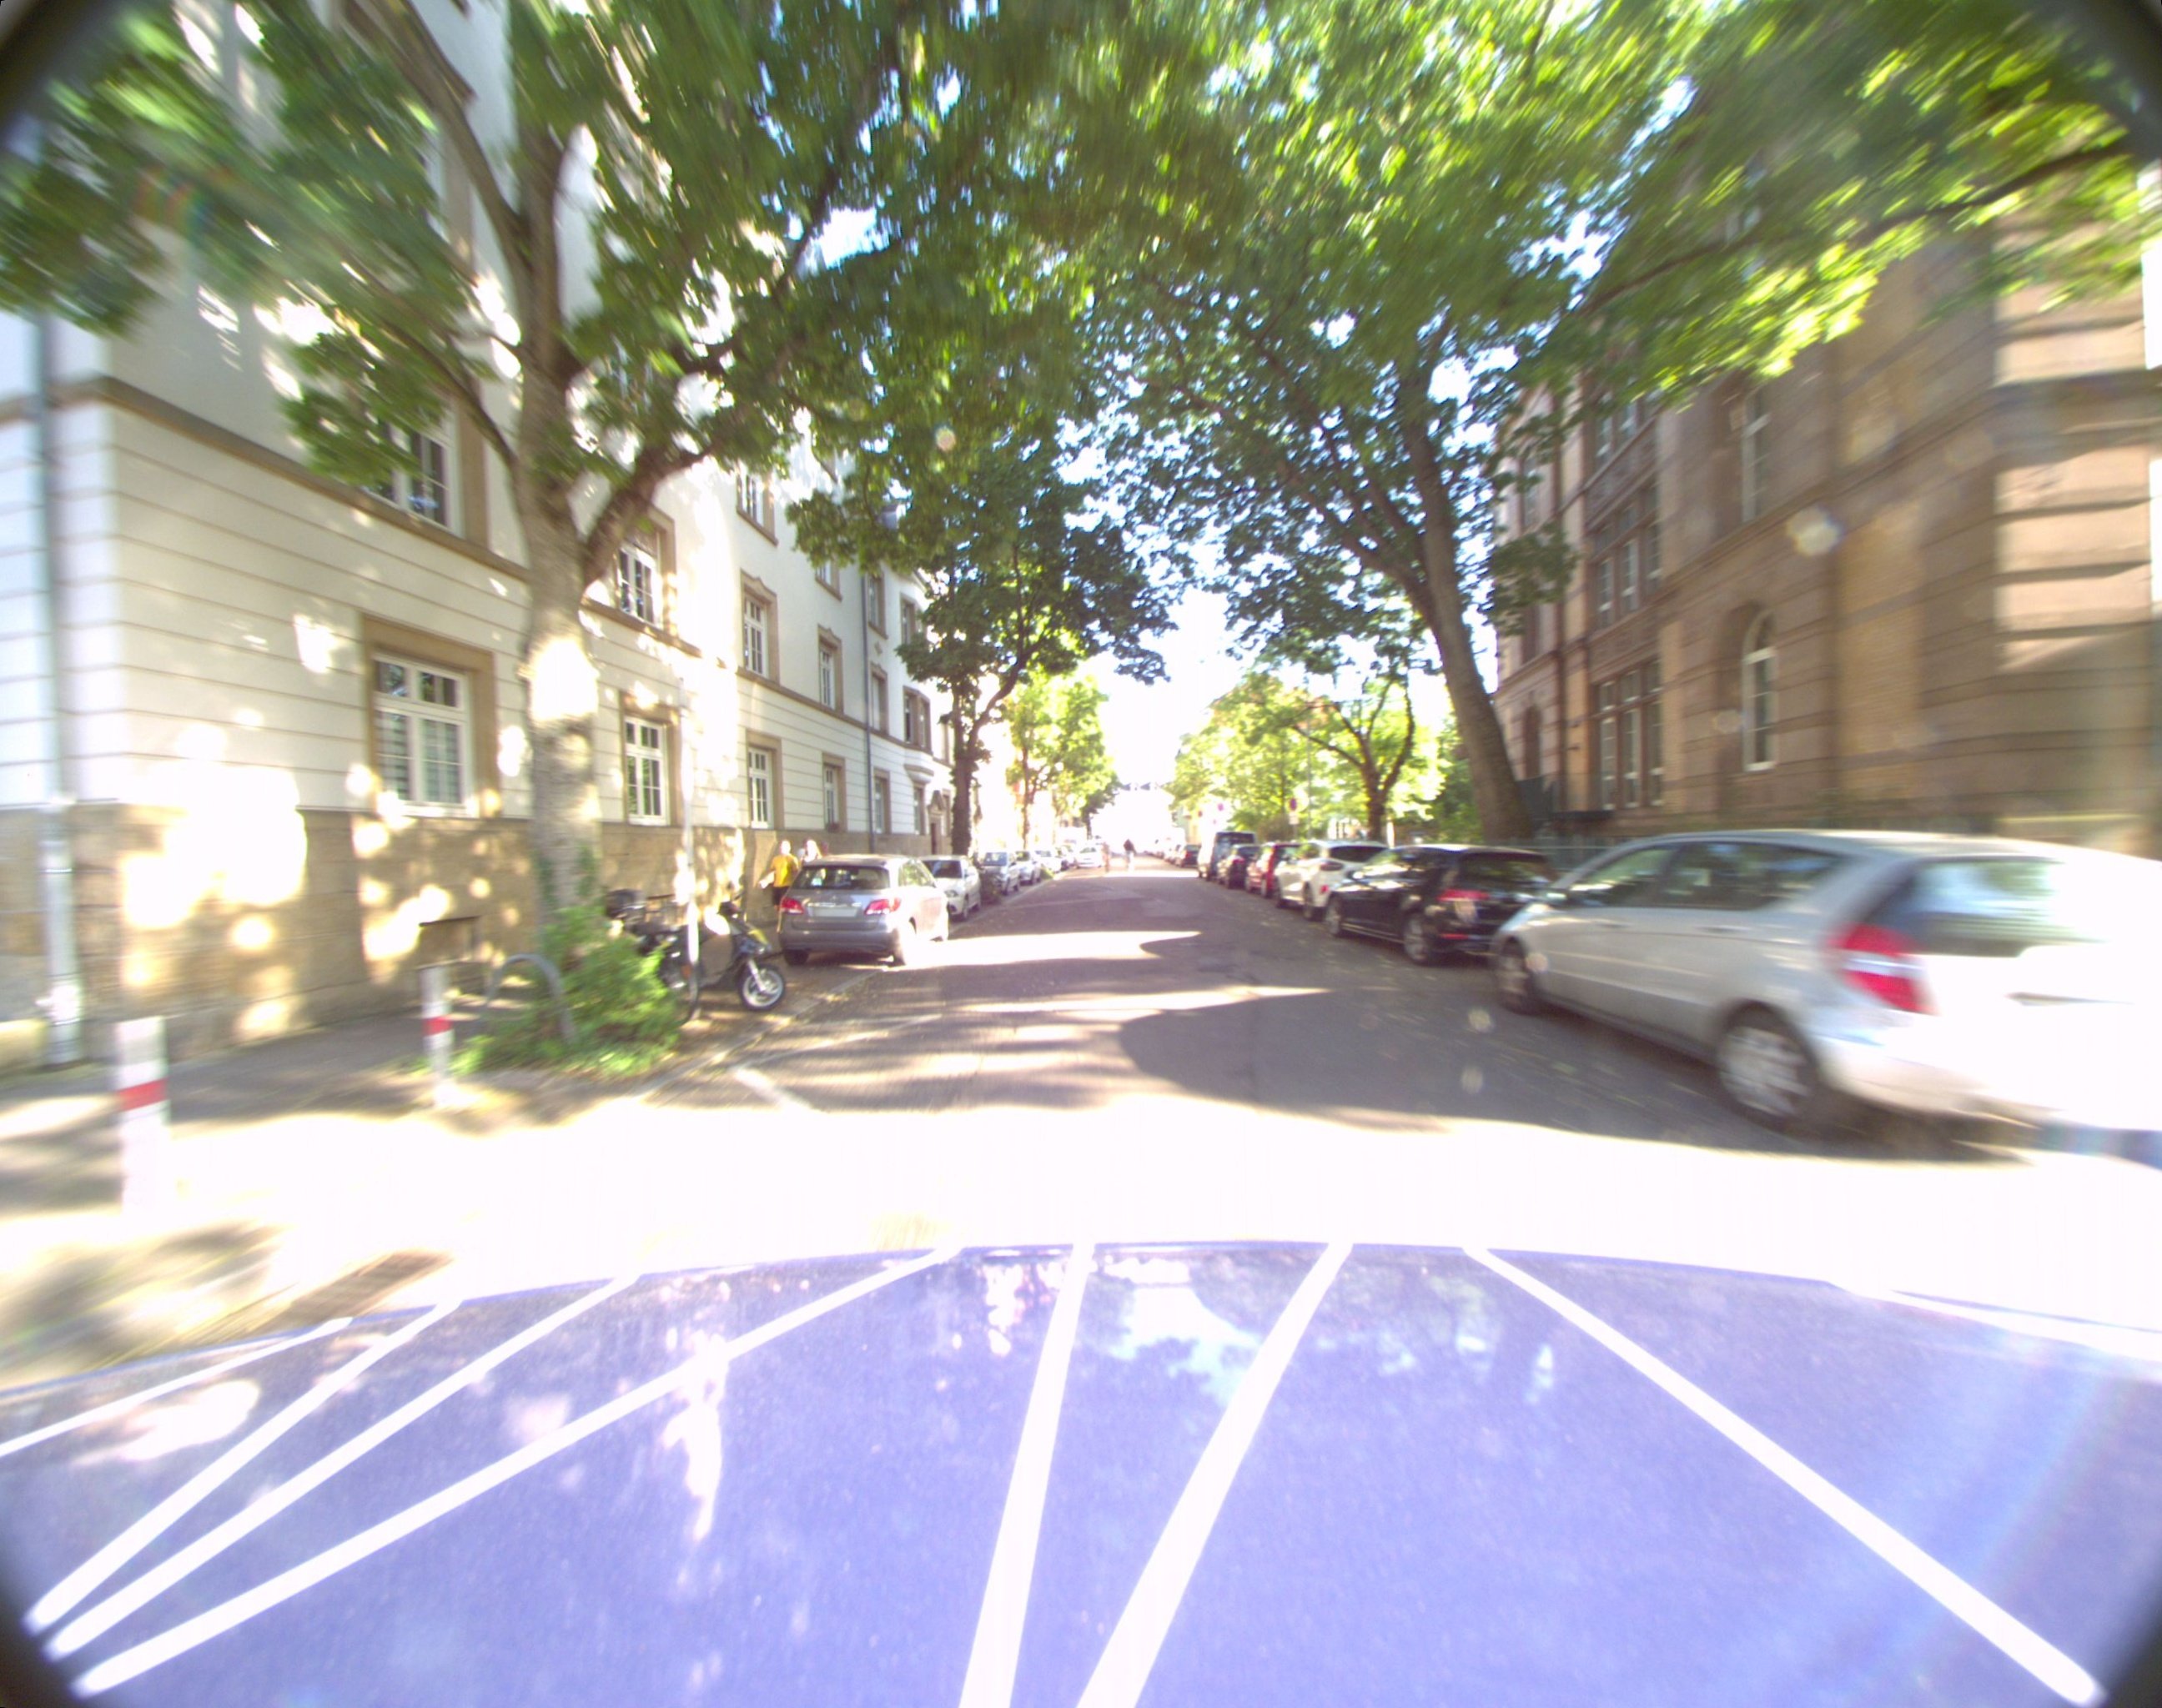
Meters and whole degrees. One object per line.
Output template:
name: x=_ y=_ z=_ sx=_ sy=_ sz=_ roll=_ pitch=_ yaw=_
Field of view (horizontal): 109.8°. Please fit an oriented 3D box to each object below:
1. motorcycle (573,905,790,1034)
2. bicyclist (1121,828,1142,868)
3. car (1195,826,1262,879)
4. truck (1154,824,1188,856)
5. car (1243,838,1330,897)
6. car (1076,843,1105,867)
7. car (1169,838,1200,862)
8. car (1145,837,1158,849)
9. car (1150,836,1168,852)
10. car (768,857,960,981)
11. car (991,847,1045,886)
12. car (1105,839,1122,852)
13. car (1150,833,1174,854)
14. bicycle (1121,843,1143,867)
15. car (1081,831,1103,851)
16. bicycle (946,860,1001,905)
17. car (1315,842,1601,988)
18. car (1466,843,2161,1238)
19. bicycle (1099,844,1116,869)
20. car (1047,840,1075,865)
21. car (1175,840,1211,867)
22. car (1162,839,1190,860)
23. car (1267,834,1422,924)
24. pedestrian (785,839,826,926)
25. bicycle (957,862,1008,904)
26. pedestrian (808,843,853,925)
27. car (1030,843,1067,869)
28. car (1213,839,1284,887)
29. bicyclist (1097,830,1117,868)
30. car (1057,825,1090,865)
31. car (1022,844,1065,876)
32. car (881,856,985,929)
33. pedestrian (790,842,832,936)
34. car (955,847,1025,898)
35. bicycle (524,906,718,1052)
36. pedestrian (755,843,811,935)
motorcycle: x=-4.038 y=1.150 z=7.773 sx=1.854 sy=1.205 sz=0.678 roll=1 pitch=0 yaw=0
bicyclist: x=2.510 y=-0.306 z=37.864 sx=0.967 sy=1.904 sz=1.139 roll=-2 pitch=2 yaw=3
car: x=5.855 y=-0.109 z=30.721 sx=1.998 sy=1.947 sz=5.042 roll=1 pitch=1 yaw=3
truck: x=8.121 y=-1.274 z=69.348 sx=2.395 sy=2.642 sz=7.092 roll=-2 pitch=1 yaw=2
car: x=5.463 y=0.310 z=20.540 sx=1.624 sy=1.456 sz=3.311 roll=-1 pitch=1 yaw=3
car: x=0.653 y=0.048 z=50.060 sx=1.653 sy=1.449 sz=4.000 roll=-2 pitch=1 yaw=4
car: x=6.997 y=-0.292 z=51.617 sx=1.754 sy=1.464 sz=4.000 roll=-3 pitch=1 yaw=4
car: x=9.764 y=-1.515 z=105.320 sx=1.597 sy=1.557 sz=4.000 roll=-2 pitch=1 yaw=3
car: x=9.150 y=-1.174 z=89.488 sx=1.808 sy=1.791 sz=4.190 roll=-2 pitch=1 yaw=3
car: x=-3.183 y=0.867 z=12.034 sx=1.684 sy=1.531 sz=4.134 roll=-1 pitch=1 yaw=2
car: x=-2.566 y=0.460 z=31.808 sx=1.650 sy=1.434 sz=4.000 roll=-2 pitch=1 yaw=4
car: x=4.773 y=-1.224 z=110.975 sx=2.145 sy=1.758 sz=4.809 roll=-2 pitch=1 yaw=4
car: x=8.401 y=-1.105 z=78.683 sx=2.146 sy=2.002 sz=4.809 roll=-2 pitch=1 yaw=3
bicycle: x=2.533 y=0.036 z=37.933 sx=0.985 sy=1.136 sz=2.547 roll=-2 pitch=1 yaw=3
car: x=1.219 y=-1.404 z=81.449 sx=2.146 sy=2.002 sz=4.863 roll=-2 pitch=1 yaw=4
bicycle: x=-2.959 y=0.791 z=20.974 sx=1.414 sy=1.188 sz=0.336 roll=-2 pitch=2 yaw=1
car: x=4.647 y=0.628 z=10.119 sx=1.585 sy=1.456 sz=3.997 roll=2 pitch=2 yaw=-3
car: x=4.383 y=0.749 z=5.092 sx=1.710 sy=1.550 sz=3.952 roll=1 pitch=2 yaw=3
bicycle: x=1.336 y=0.114 z=37.903 sx=0.810 sy=1.136 sz=2.547 roll=-2 pitch=1 yaw=3
car: x=-1.393 y=-0.155 z=54.426 sx=1.660 sy=1.674 sz=4.083 roll=-2 pitch=1 yaw=4
car: x=6.630 y=-0.048 z=45.280 sx=1.738 sy=1.456 sz=4.000 roll=-1 pitch=1 yaw=4
car: x=7.193 y=-0.341 z=57.684 sx=1.787 sy=1.450 sz=4.208 roll=-2 pitch=1 yaw=4
car: x=5.046 y=0.397 z=15.165 sx=1.792 sy=1.524 sz=4.000 roll=1 pitch=1 yaw=2
pedestrian: x=-5.966 y=0.595 z=16.483 sx=0.529 sy=1.834 sz=0.707 roll=-2 pitch=2 yaw=4
bicycle: x=-2.895 y=0.847 z=22.318 sx=1.414 sy=1.188 sz=0.336 roll=-2 pitch=2 yaw=1
pedestrian: x=-5.810 y=0.675 z=17.640 sx=0.706 sy=1.834 sz=0.840 roll=-2 pitch=2 yaw=-2
car: x=-1.934 y=0.104 z=46.119 sx=1.812 sy=1.412 sz=4.000 roll=-2 pitch=1 yaw=4
car: x=5.493 y=0.237 z=25.349 sx=1.730 sy=1.456 sz=3.844 roll=-1 pitch=1 yaw=3
bicyclist: x=1.315 y=-0.259 z=37.884 sx=0.934 sy=1.809 sz=1.078 roll=-2 pitch=2 yaw=3
car: x=-0.546 y=-0.750 z=62.275 sx=1.998 sy=2.984 sz=6.239 roll=-5 pitch=1 yaw=4
car: x=-1.937 y=0.295 z=40.441 sx=1.823 sy=1.521 sz=4.000 roll=-2 pitch=1 yaw=4
car: x=-3.314 y=0.803 z=17.704 sx=1.728 sy=1.399 sz=3.854 roll=-1 pitch=1 yaw=-2
pedestrian: x=-5.028 y=0.634 z=14.186 sx=0.520 sy=1.709 sz=0.516 roll=-2 pitch=2 yaw=1
car: x=-3.038 y=0.569 z=26.051 sx=1.639 sy=1.524 sz=4.000 roll=-2 pitch=1 yaw=4
bicycle: x=-4.188 y=1.090 z=6.908 sx=1.794 sy=1.155 sz=0.433 roll=0 pitch=2 yaw=19
pedestrian: x=-5.625 y=0.634 z=14.375 sx=0.624 sy=1.675 sz=0.818 roll=-2 pitch=2 yaw=3
